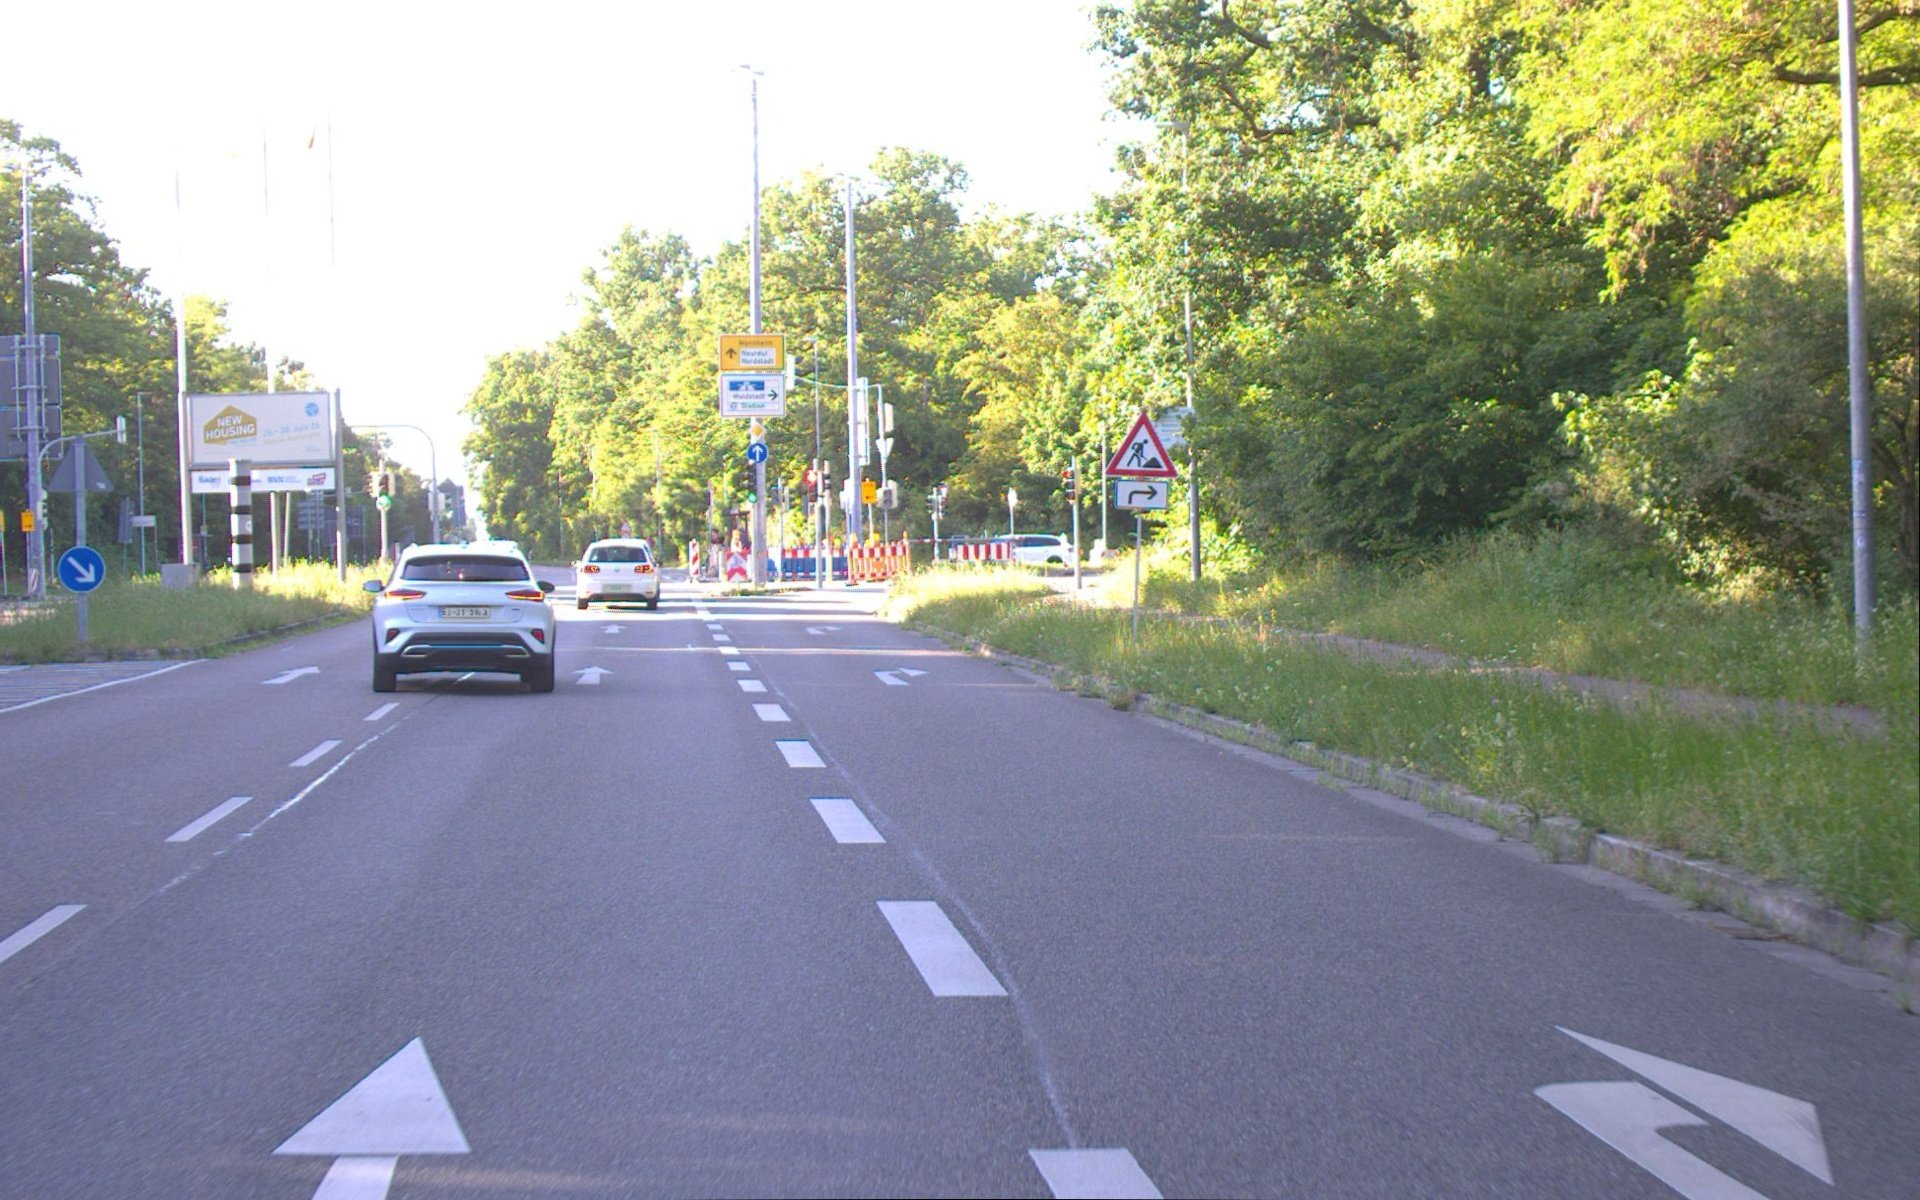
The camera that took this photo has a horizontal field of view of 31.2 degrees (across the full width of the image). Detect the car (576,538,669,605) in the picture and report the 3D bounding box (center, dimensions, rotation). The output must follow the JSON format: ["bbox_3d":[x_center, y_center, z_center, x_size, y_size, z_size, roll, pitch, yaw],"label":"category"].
[{"bbox_3d":[-7.424,-0.643,75.937,1.940,1.409,4.001,-1,1,-5],"label":"car"}]

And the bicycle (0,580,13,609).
[{"bbox_3d":[-31.228,-0.185,111.243,0.714,0.911,1.911,-1,1,-2],"label":"bicycle"}]

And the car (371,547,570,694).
[{"bbox_3d":[-5.030,0.172,35.778,1.863,1.439,4.001,0,1,-6],"label":"car"}]

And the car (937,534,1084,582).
[{"bbox_3d":[1.785,-1.500,121.902,4.817,1.575,2.000,-2,1,-27],"label":"car"}]

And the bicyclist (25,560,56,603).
[{"bbox_3d":[-29.230,-0.588,109.297,0.714,1.334,0.990,-1,1,-2],"label":"bicyclist"}]

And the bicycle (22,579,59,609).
[{"bbox_3d":[-29.222,-0.194,109.244,0.714,0.911,1.911,-1,1,-2],"label":"bicycle"}]

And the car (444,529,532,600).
[{"bbox_3d":[-11.722,-0.889,85.175,1.993,1.679,4.001,-1,1,-9],"label":"car"}]
